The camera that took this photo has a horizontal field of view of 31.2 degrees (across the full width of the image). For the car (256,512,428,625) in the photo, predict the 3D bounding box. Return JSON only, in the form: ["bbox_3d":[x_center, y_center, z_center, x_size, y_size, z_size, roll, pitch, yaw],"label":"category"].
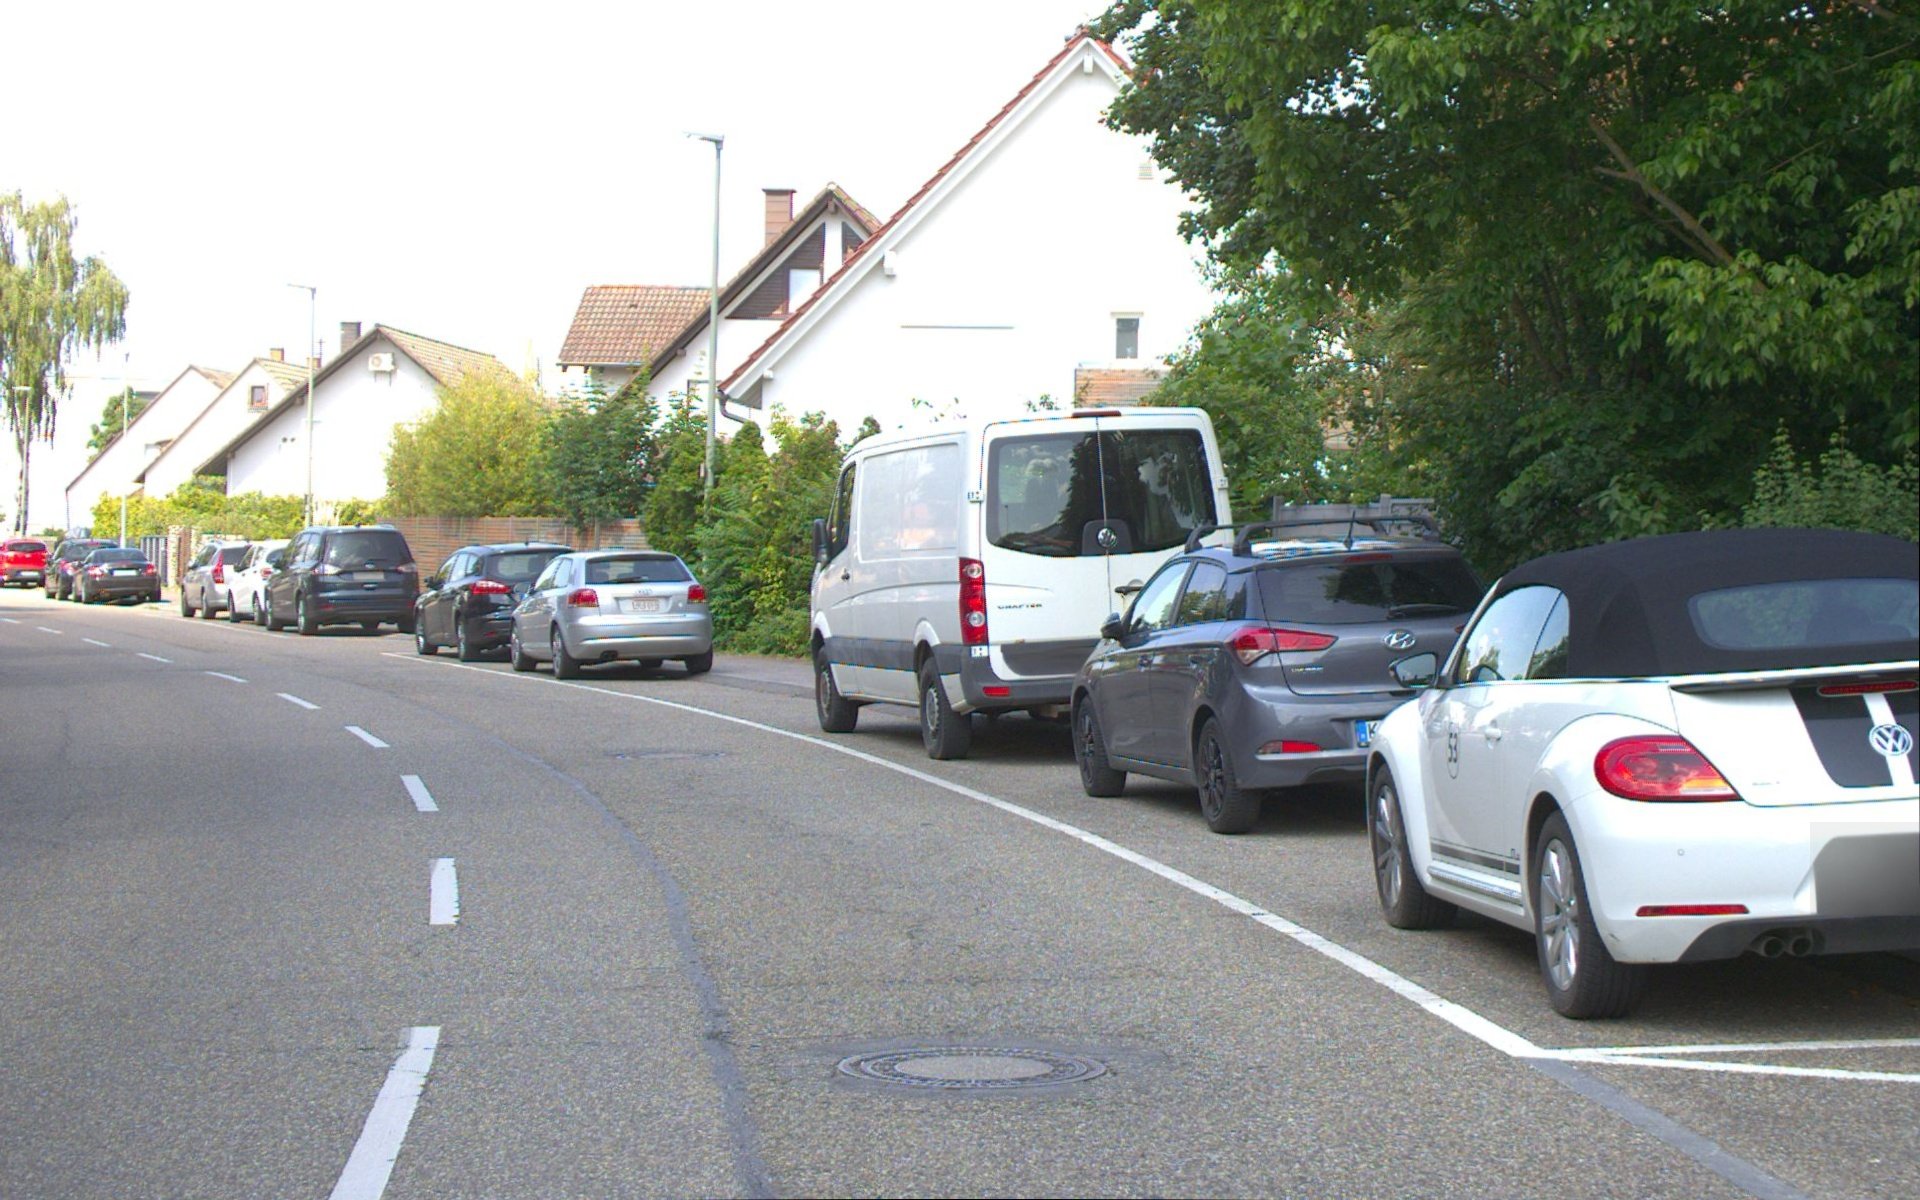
[{"bbox_3d":[-10.079,-0.540,55.816,1.794,1.742,4.585,1,1,-22],"label":"car"}]

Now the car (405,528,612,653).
[{"bbox_3d":[-5.934,-0.160,44.754,1.737,1.504,4.477,1,1,-20],"label":"car"}]

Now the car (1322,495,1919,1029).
[{"bbox_3d":[2.530,0.431,12.036,1.739,1.507,4.459,1,1,-4],"label":"car"}]

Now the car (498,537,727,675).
[{"bbox_3d":[-4.059,0.033,39.525,1.736,1.452,4.366,1,1,-18],"label":"car"}]

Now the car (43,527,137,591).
[{"bbox_3d":[-21.937,-1.046,86.563,1.794,1.518,3.974,1,1,-21],"label":"car"}]

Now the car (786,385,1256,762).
[{"bbox_3d":[0.267,-0.221,25.393,2.117,2.432,5.896,1,1,-12],"label":"car"}]

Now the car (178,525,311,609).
[{"bbox_3d":[-13.777,-0.647,66.046,1.794,1.518,3.974,1,1,-22],"label":"car"}]

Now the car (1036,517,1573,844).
[{"bbox_3d":[1.743,0.361,18.826,1.717,1.580,4.125,1,1,-12],"label":"car"}]

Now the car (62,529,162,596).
[{"bbox_3d":[-20.303,-0.918,82.227,1.794,1.518,3.974,1,1,-21],"label":"car"}]

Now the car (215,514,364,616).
[{"bbox_3d":[-12.076,-0.651,61.756,1.794,1.742,3.974,1,1,-23],"label":"car"}]

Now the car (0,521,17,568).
[{"bbox_3d":[-32.271,-1.854,113.378,1.794,1.518,4.533,1,1,-21],"label":"car"}]

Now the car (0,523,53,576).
[{"bbox_3d":[-28.670,-1.555,104.175,1.794,1.518,4.533,1,1,-21],"label":"car"}]
